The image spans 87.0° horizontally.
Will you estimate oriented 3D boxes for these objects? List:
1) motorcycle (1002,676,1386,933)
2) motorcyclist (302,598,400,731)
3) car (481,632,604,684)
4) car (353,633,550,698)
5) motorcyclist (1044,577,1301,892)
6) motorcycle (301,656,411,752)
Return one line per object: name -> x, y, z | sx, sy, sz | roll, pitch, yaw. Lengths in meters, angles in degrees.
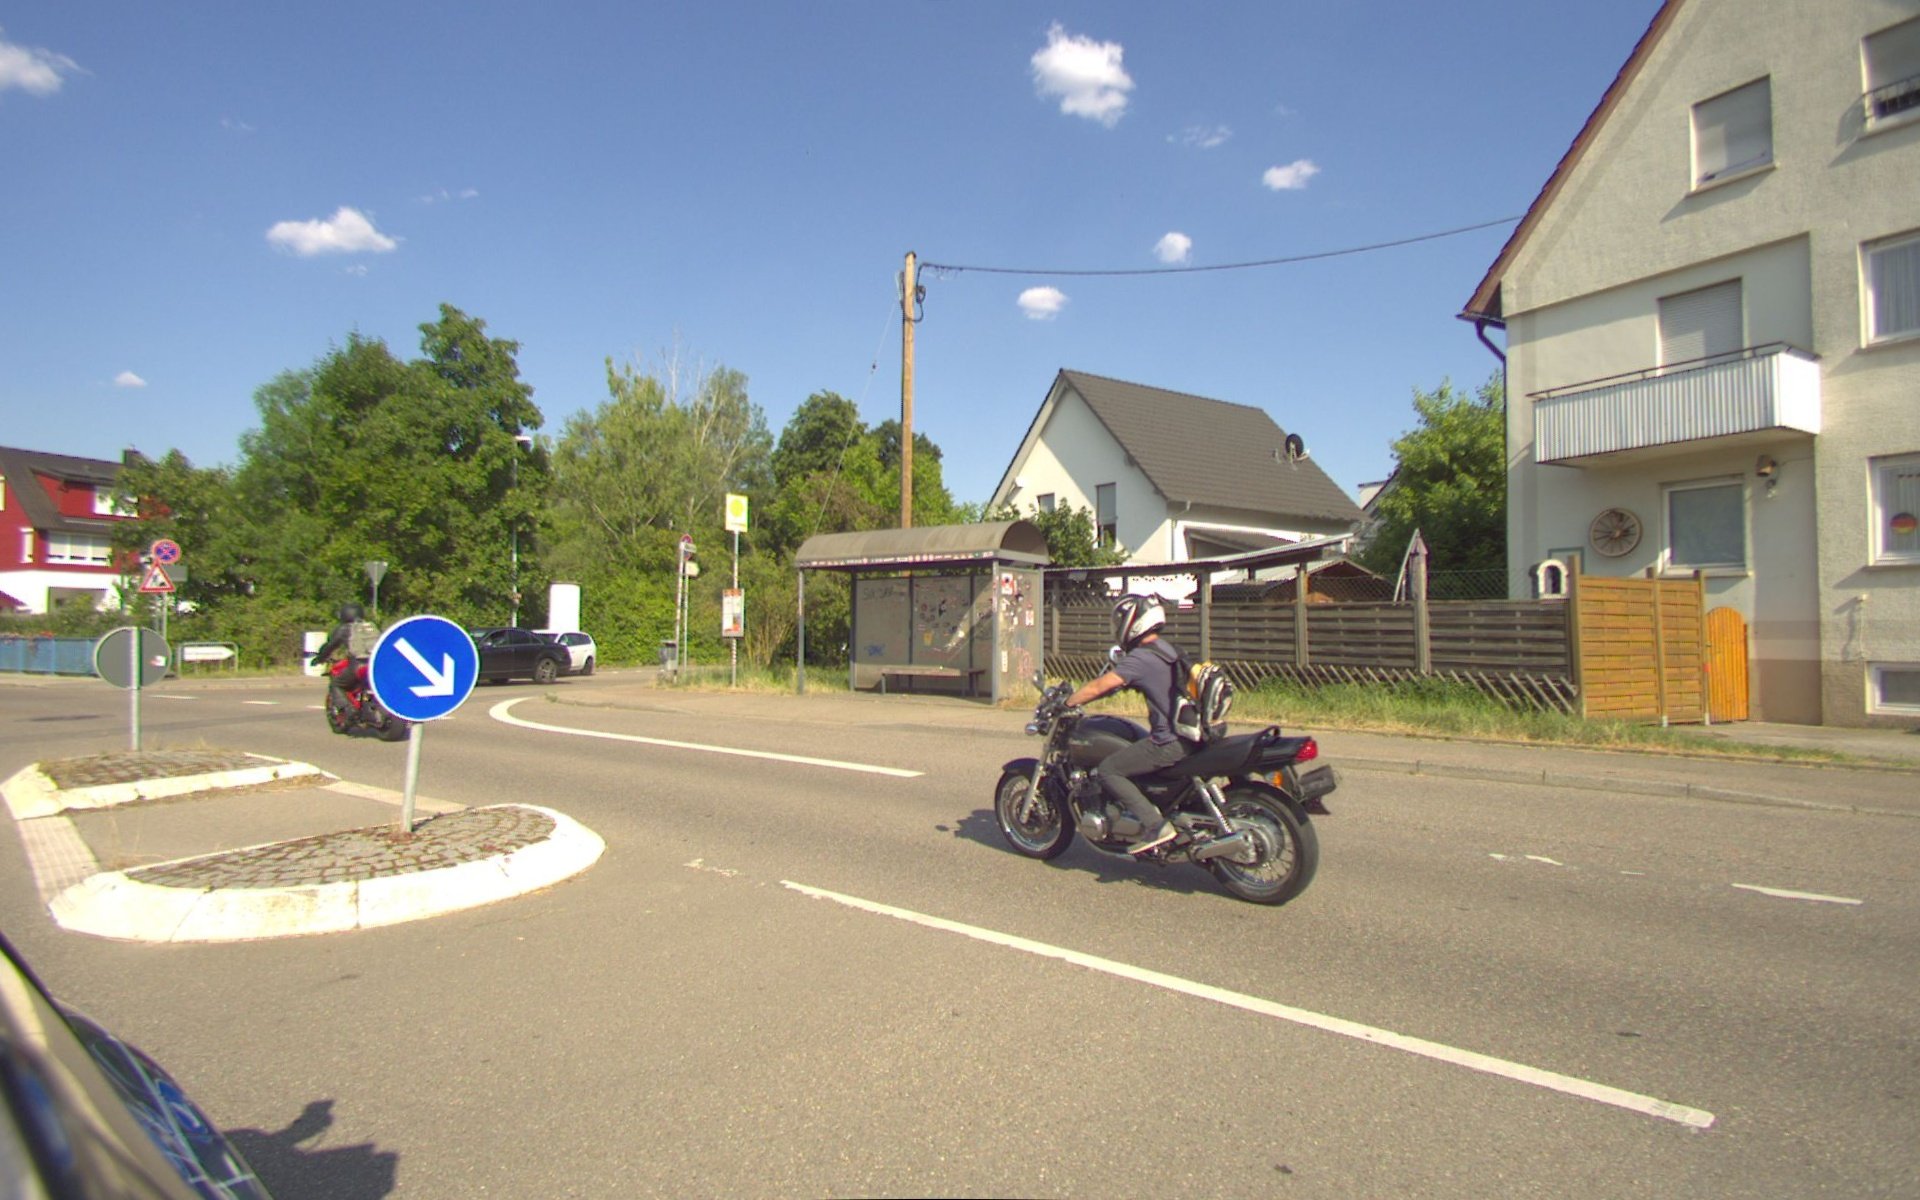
motorcycle -> 1.137, 0.969, 5.373 | 0.518, 1.020, 2.029 | 0, -1, -44
motorcyclist -> -7.488, 0.755, 12.434 | 1.016, 1.538, 0.728 | -1, 1, 41
car -> -13.219, 1.812, 32.325 | 1.839, 1.503, 4.267 | 1, -2, 6
car -> -12.525, 1.572, 25.332 | 1.753, 1.442, 4.825 | 0, -2, 12
motorcyclist -> 1.099, 0.632, 5.316 | 0.793, 1.447, 1.038 | 0, -2, -43
motorcycle -> -7.398, 1.225, 12.361 | 2.026, 1.020, 0.532 | -1, 0, 41
